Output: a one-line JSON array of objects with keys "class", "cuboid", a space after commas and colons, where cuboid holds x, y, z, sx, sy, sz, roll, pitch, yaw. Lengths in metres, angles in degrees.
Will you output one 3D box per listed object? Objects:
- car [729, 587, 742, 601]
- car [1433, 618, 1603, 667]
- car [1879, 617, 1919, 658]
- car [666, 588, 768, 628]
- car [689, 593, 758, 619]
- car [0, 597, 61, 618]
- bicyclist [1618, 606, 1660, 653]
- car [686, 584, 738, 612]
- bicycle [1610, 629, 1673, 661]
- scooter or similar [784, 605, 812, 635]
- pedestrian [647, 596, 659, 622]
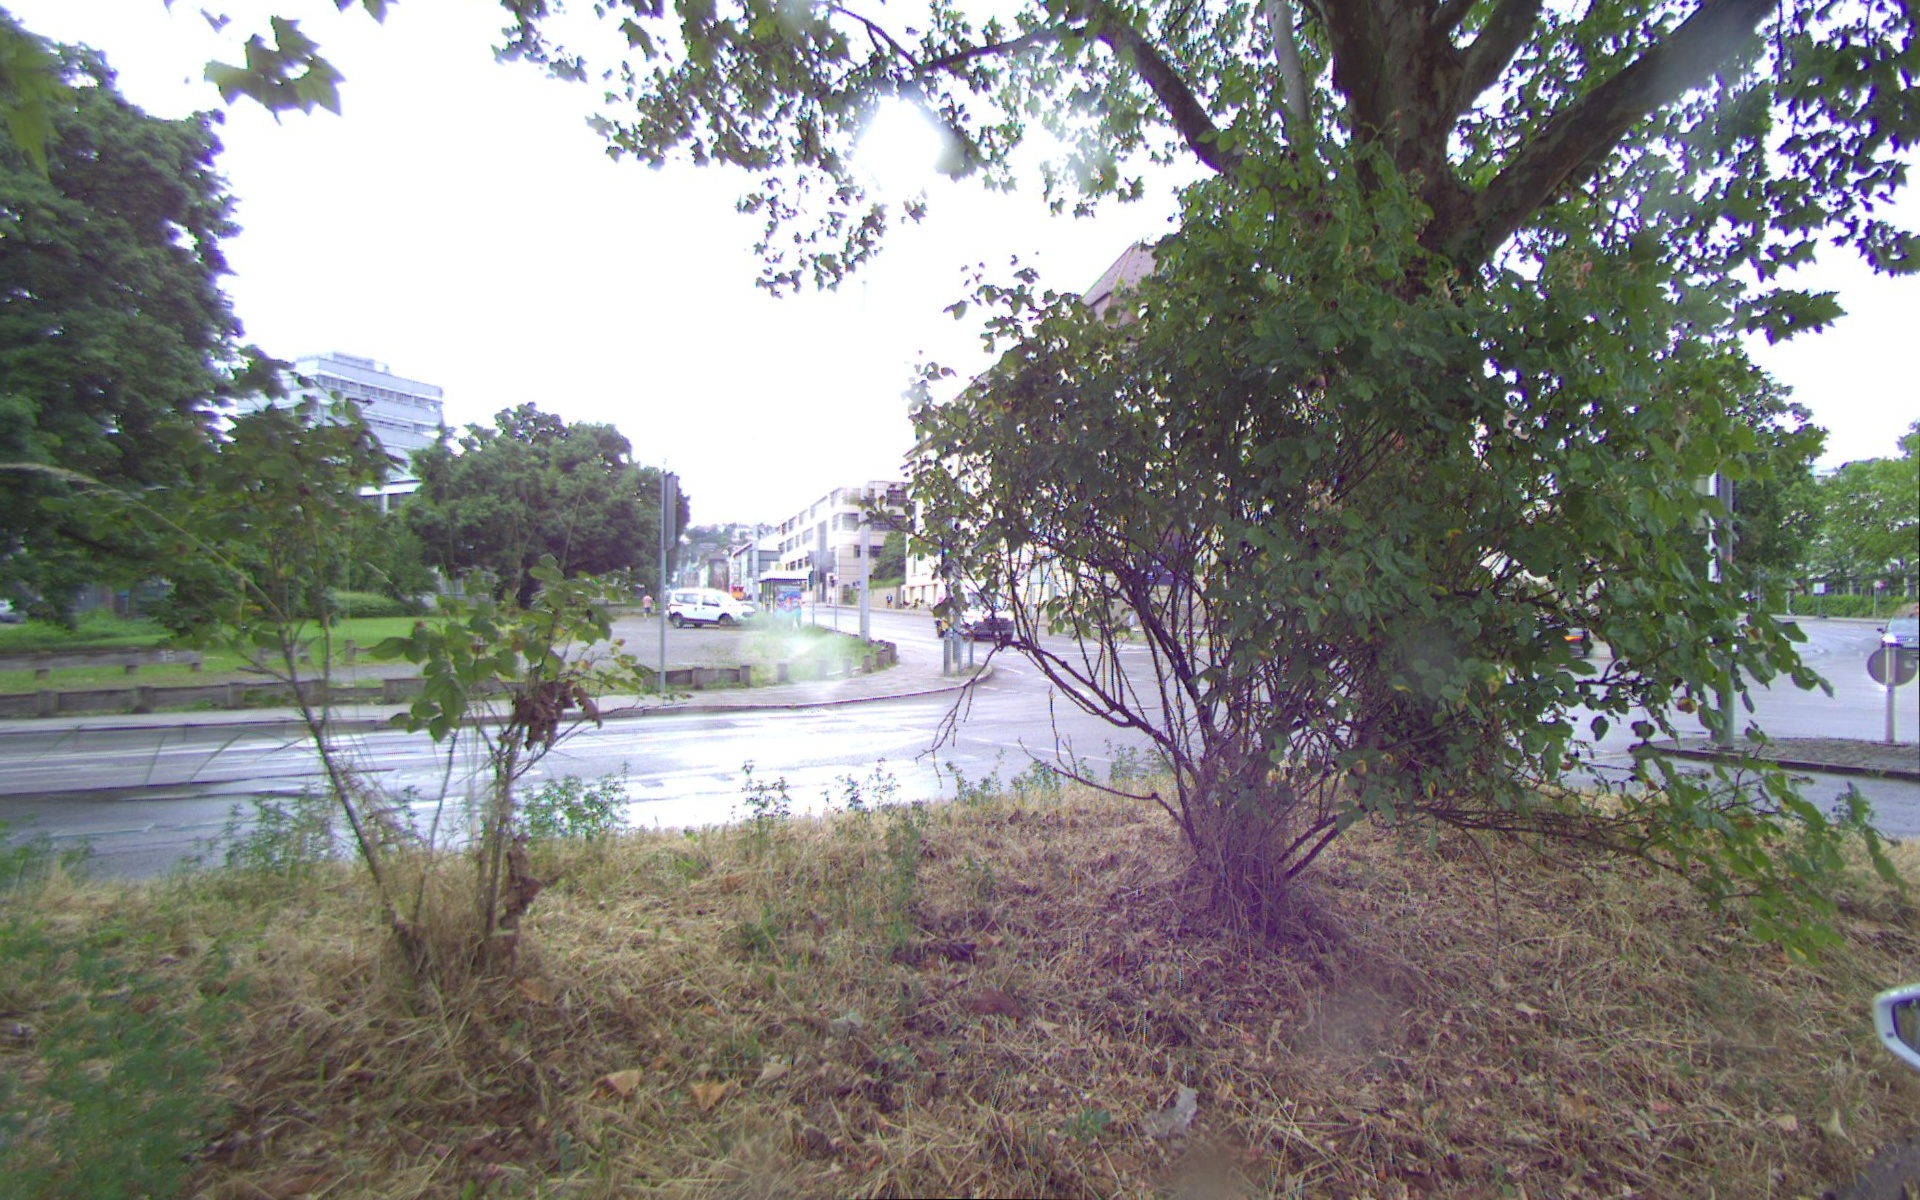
[{"class": "car", "cuboid": [-42.941, -1.155, 191.849, 1.969, 2.652, 3.983, 2, 0, -19]}, {"class": "car", "cuboid": [17.657, 1.292, 31.960, 1.981, 1.396, 4.342, 1, 0, -36]}, {"class": "car", "cuboid": [39.307, 1.517, 41.563, 1.847, 1.585, 4.252, -1, -1, 43]}, {"class": "car", "cuboid": [-11.314, 0.386, 46.734, 4.420, 1.791, 1.833, 0, -1, 24]}, {"class": "car", "cuboid": [-14.751, 0.352, 62.607, 4.004, 1.461, 1.850, 2, 0, 32]}, {"class": "car", "cuboid": [-58.520, 0.467, 62.487, 3.500, 1.158, 1.586, 2, 0, -18]}, {"class": "bicyclist", "cuboid": [24.767, 1.063, 36.631, 1.113, 1.654, 0.698, 2, 0, 44]}, {"class": "car", "cuboid": [-16.617, -0.114, 67.124, 1.838, 1.765, 4.029, 1, -1, -39]}, {"class": "bicycle", "cuboid": [24.813, 1.636, 36.592, 1.796, 1.070, 0.644, 1, -1, 44]}, {"class": "scooter or similar", "cuboid": [-6.575, 0.795, 40.846, 0.541, 1.182, 1.253, 2, 0, 20]}, {"class": "pedestrian", "cuboid": [-18.578, 0.532, 60.828, 0.557, 1.548, 0.669, 2, 0, -8]}]
